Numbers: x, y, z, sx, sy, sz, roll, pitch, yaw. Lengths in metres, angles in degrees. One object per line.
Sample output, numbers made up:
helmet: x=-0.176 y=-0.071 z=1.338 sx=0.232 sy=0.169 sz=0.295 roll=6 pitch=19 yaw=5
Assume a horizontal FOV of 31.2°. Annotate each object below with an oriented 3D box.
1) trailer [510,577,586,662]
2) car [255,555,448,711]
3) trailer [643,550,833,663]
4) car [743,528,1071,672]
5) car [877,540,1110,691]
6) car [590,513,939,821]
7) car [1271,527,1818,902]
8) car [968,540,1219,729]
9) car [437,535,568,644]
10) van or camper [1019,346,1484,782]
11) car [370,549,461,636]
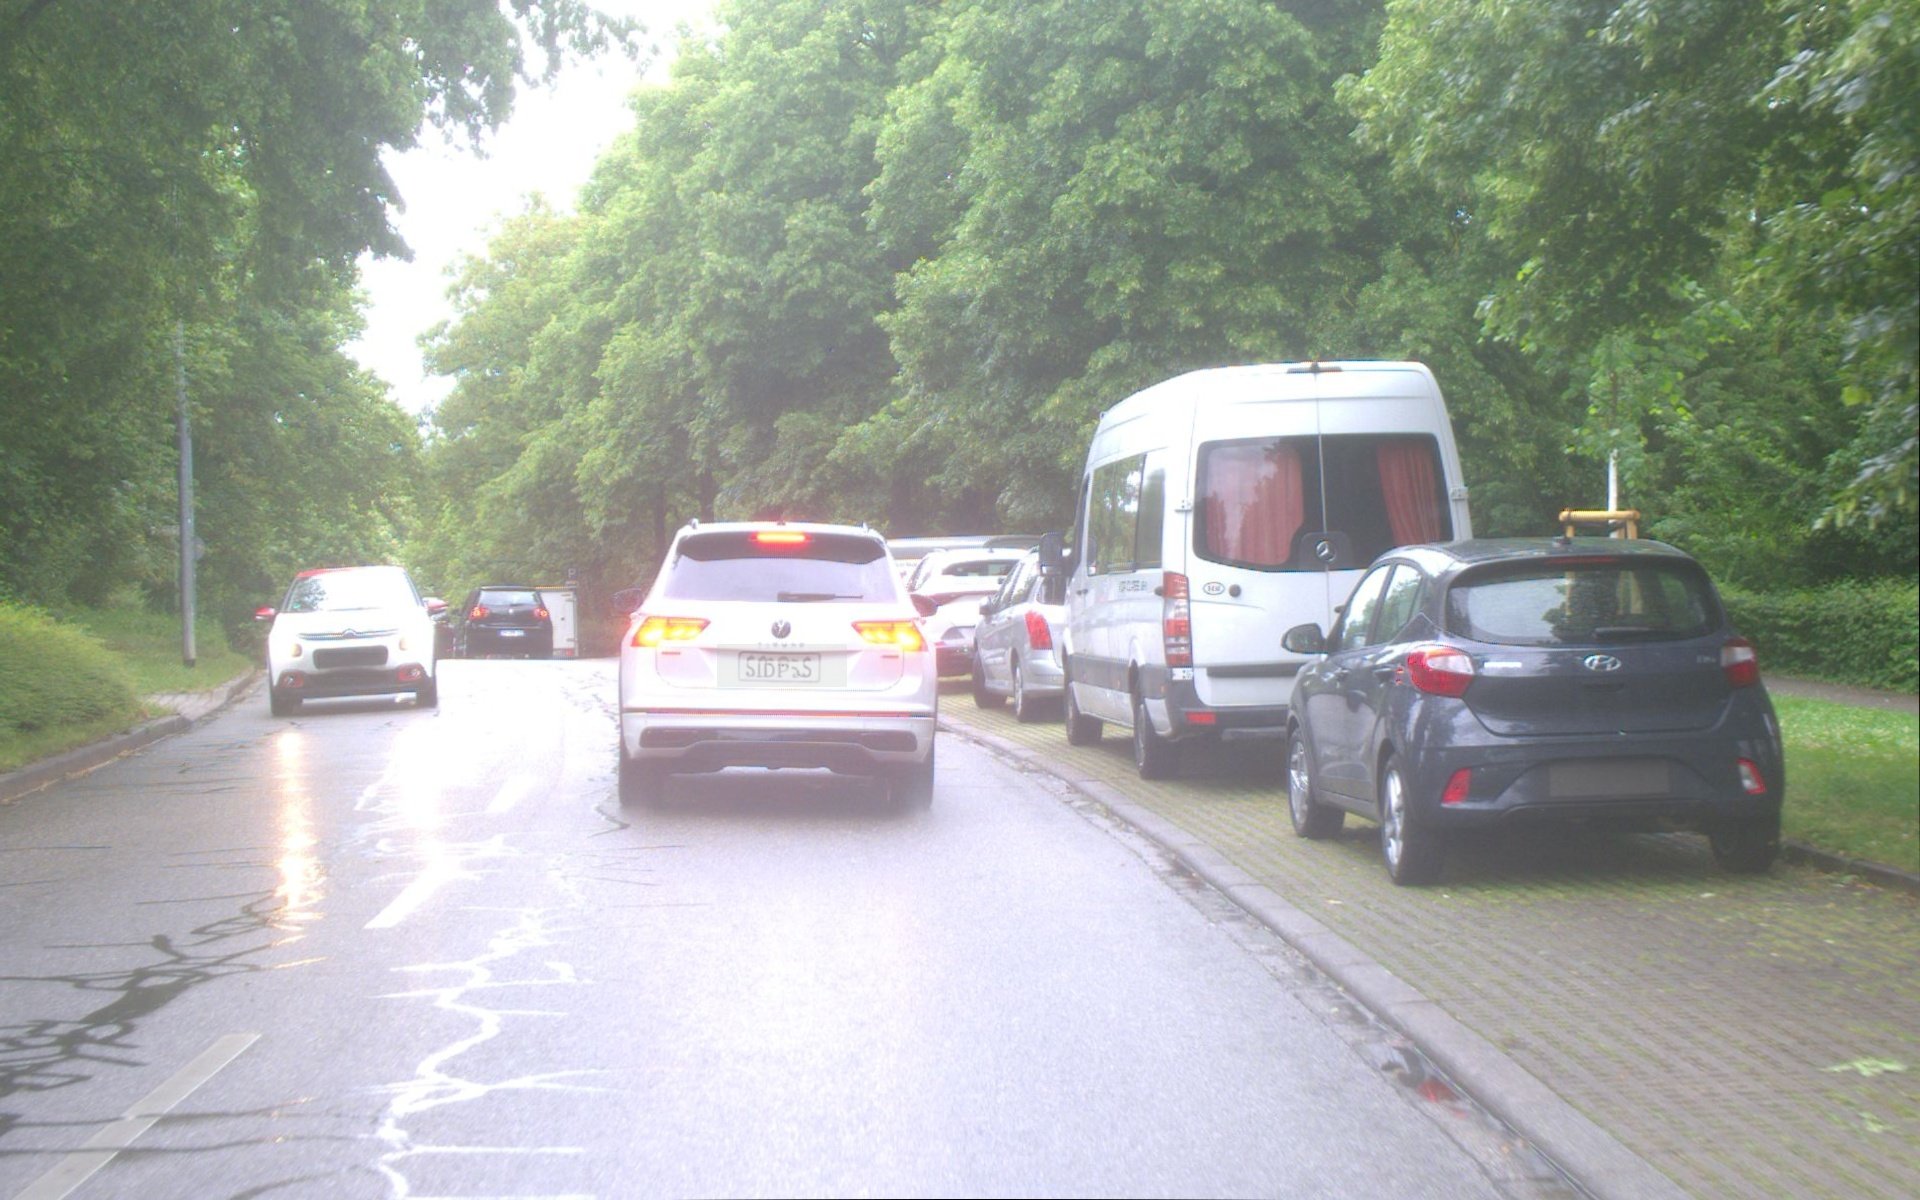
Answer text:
trailer: x=-10.946 y=0.547 z=91.200 sx=1.529 sy=2.069 sz=4.000 roll=-2 pitch=-2 yaw=-13
car: x=-6.421 y=0.306 z=36.580 sx=1.665 sy=1.472 sz=3.733 roll=-3 pitch=1 yaw=-6
trailer: x=-3.952 y=0.156 z=60.107 sx=2.449 sy=1.806 sz=5.893 roll=-2 pitch=-1 yaw=-12
car: x=-0.694 y=0.016 z=42.919 sx=4.003 sy=1.675 sz=1.608 roll=-1 pitch=0 yaw=41
car: x=0.294 y=0.118 z=37.646 sx=1.993 sy=1.492 sz=4.567 roll=-1 pitch=1 yaw=-6
car: x=-1.170 y=0.364 z=21.000 sx=1.905 sy=1.679 sz=4.201 roll=0 pitch=0 yaw=-3
car: x=2.615 y=0.438 z=16.240 sx=1.865 sy=1.506 sz=3.725 roll=-1 pitch=2 yaw=-1
car: x=1.145 y=0.257 z=31.408 sx=1.805 sy=1.533 sz=4.268 roll=-2 pitch=1 yaw=-4
car: x=-9.184 y=-0.251 z=68.841 sx=1.993 sy=2.006 sz=4.002 roll=-1 pitch=3 yaw=-16
van or camper: x=1.816 y=-0.336 z=24.721 sx=2.015 sy=2.574 sz=8.437 roll=1 pitch=2 yaw=-4
car: x=-13.707 y=-0.212 z=86.470 sx=1.993 sy=2.006 sz=4.002 roll=-1 pitch=3 yaw=-13
